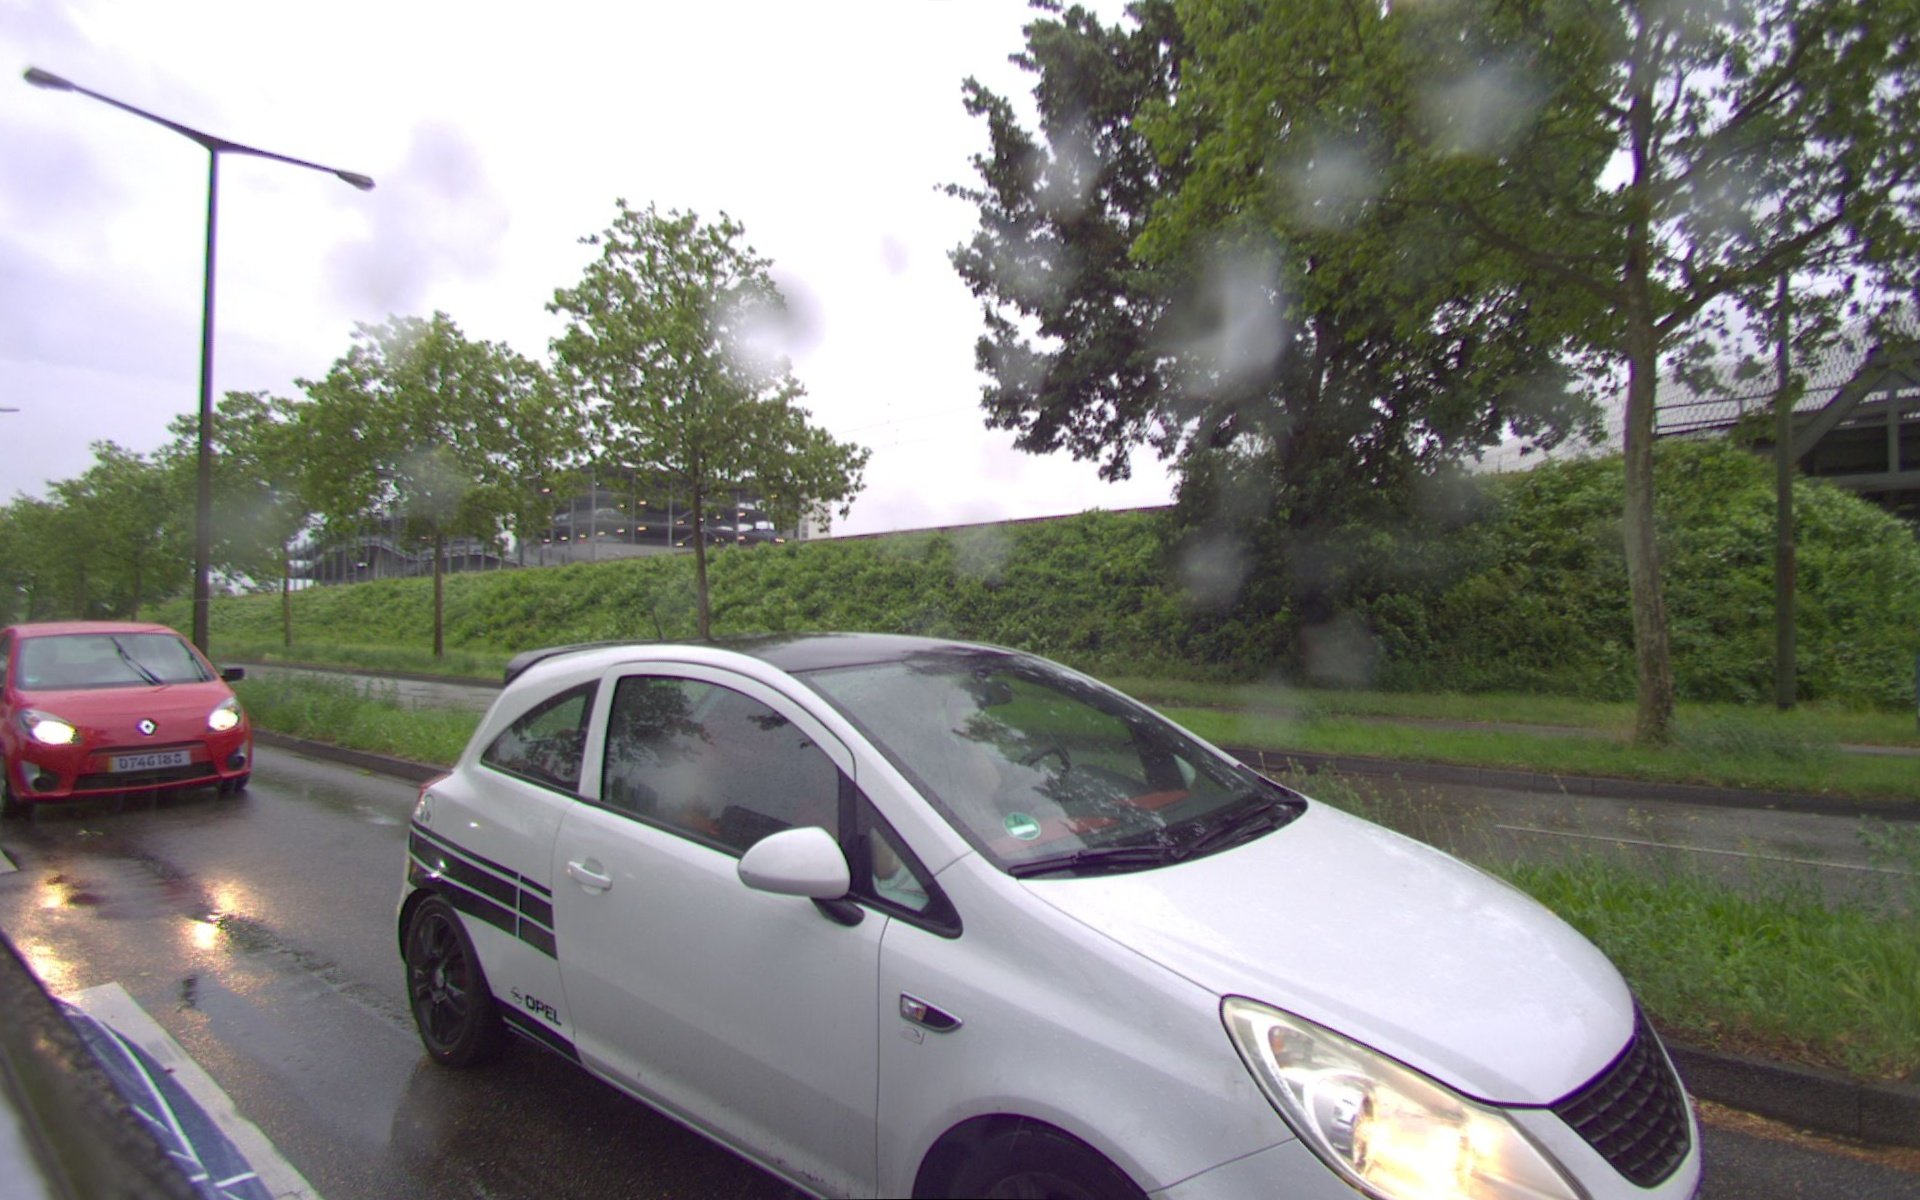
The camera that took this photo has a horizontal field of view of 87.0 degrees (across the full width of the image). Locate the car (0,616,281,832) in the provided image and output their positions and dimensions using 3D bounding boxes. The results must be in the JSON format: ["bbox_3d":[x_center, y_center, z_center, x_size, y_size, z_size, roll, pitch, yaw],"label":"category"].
[{"bbox_3d":[-7.747,0.925,9.065,4.089,1.476,1.702,-2,-1,40],"label":"car"}]

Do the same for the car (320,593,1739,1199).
[{"bbox_3d":[-0.240,0.730,3.024,4.007,1.387,1.662,-2,-1,40],"label":"car"}]
